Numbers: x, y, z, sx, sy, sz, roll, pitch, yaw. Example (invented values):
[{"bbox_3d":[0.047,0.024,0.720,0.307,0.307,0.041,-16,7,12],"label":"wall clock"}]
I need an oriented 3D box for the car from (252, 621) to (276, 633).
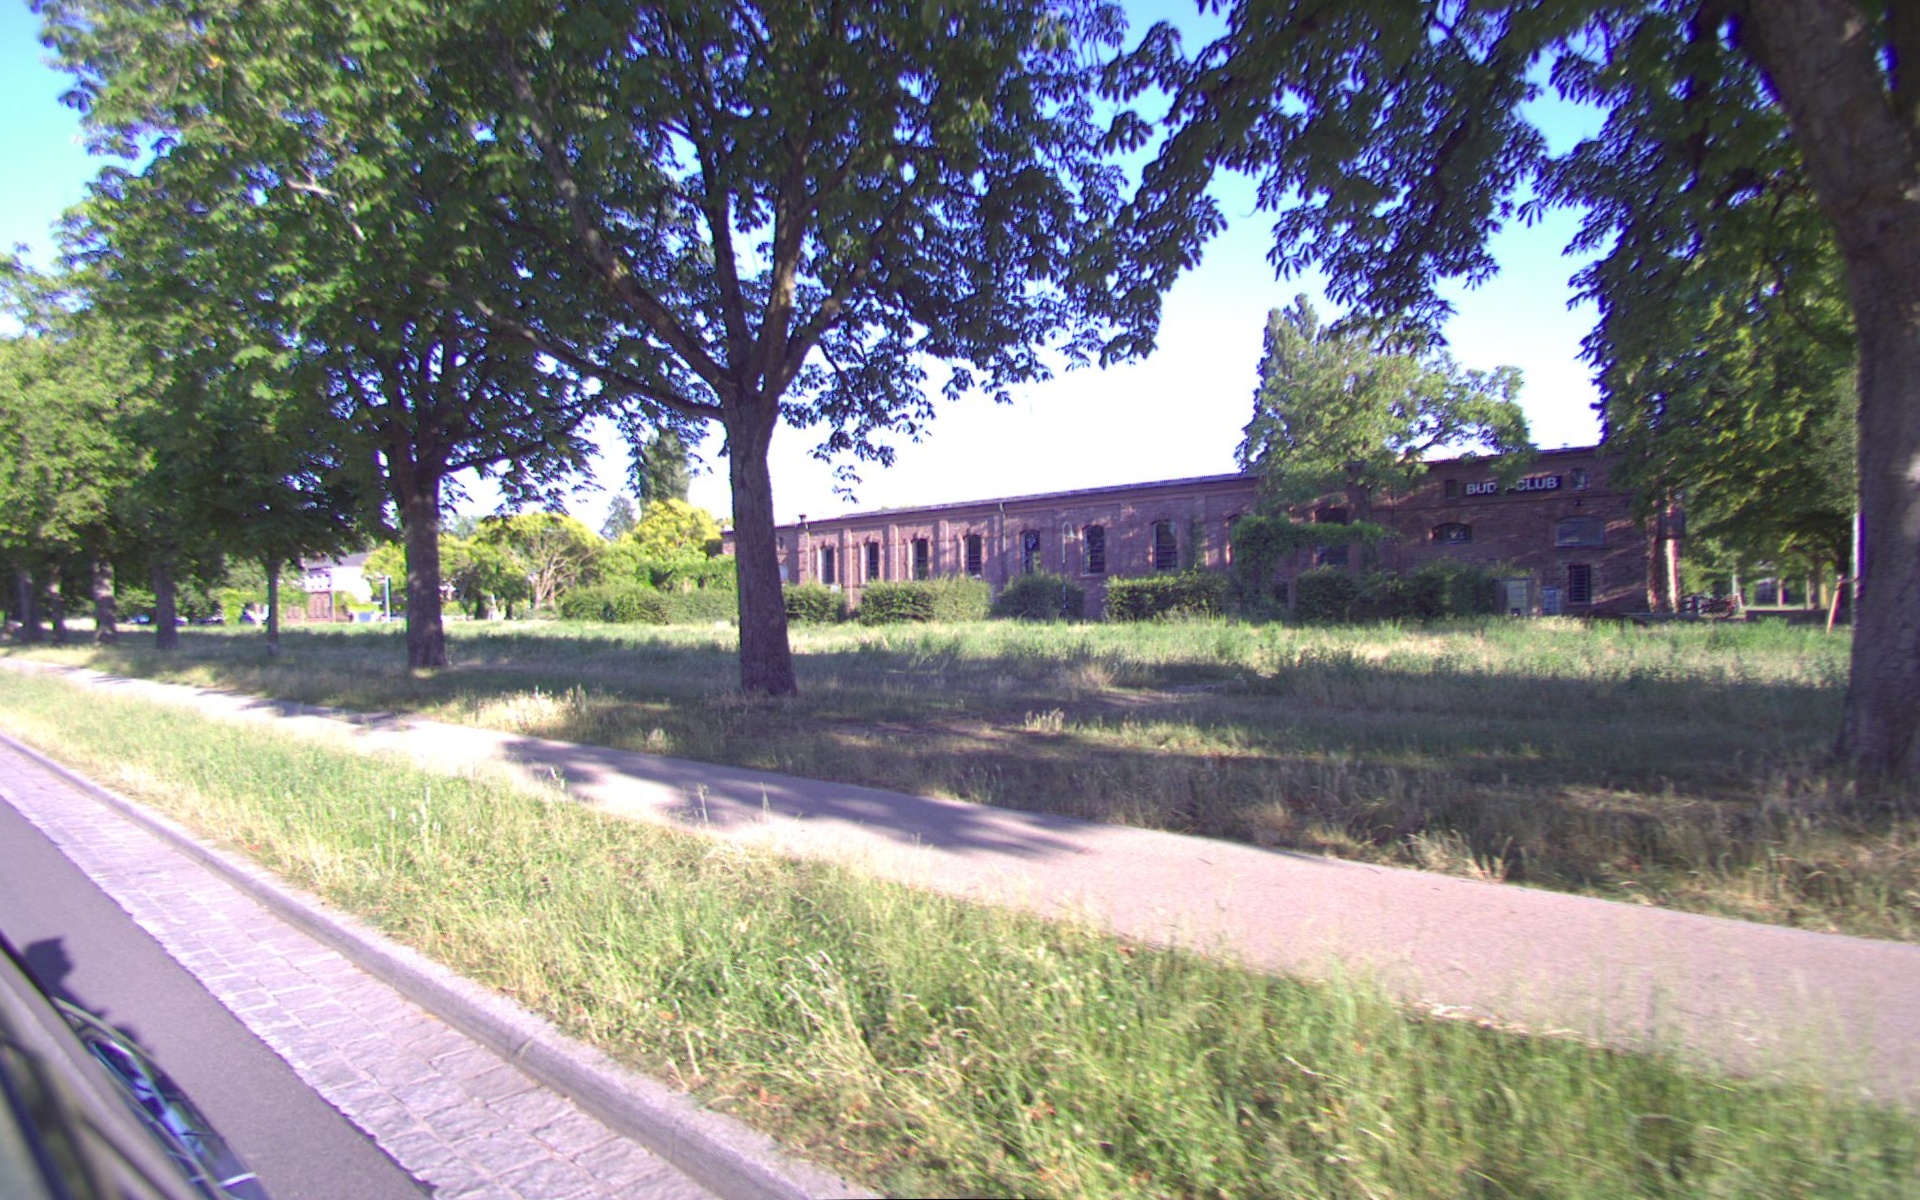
[{"bbox_3d":[-94.038,3.646,136.689,3.998,1.641,1.744,-2,0,41],"label":"car"}]

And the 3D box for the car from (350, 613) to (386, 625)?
[{"bbox_3d":[-74.312,2.350,127.065,1.586,1.289,3.589,-1,1,42],"label":"car"}]

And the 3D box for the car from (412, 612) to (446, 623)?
[{"bbox_3d":[-69.952,2.310,133.402,1.586,1.289,3.589,-1,1,42],"label":"car"}]

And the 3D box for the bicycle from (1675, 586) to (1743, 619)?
[{"bbox_3d":[30.329,0.099,40.998,2.149,1.279,0.677,-1,0,43],"label":"bicycle"}]
